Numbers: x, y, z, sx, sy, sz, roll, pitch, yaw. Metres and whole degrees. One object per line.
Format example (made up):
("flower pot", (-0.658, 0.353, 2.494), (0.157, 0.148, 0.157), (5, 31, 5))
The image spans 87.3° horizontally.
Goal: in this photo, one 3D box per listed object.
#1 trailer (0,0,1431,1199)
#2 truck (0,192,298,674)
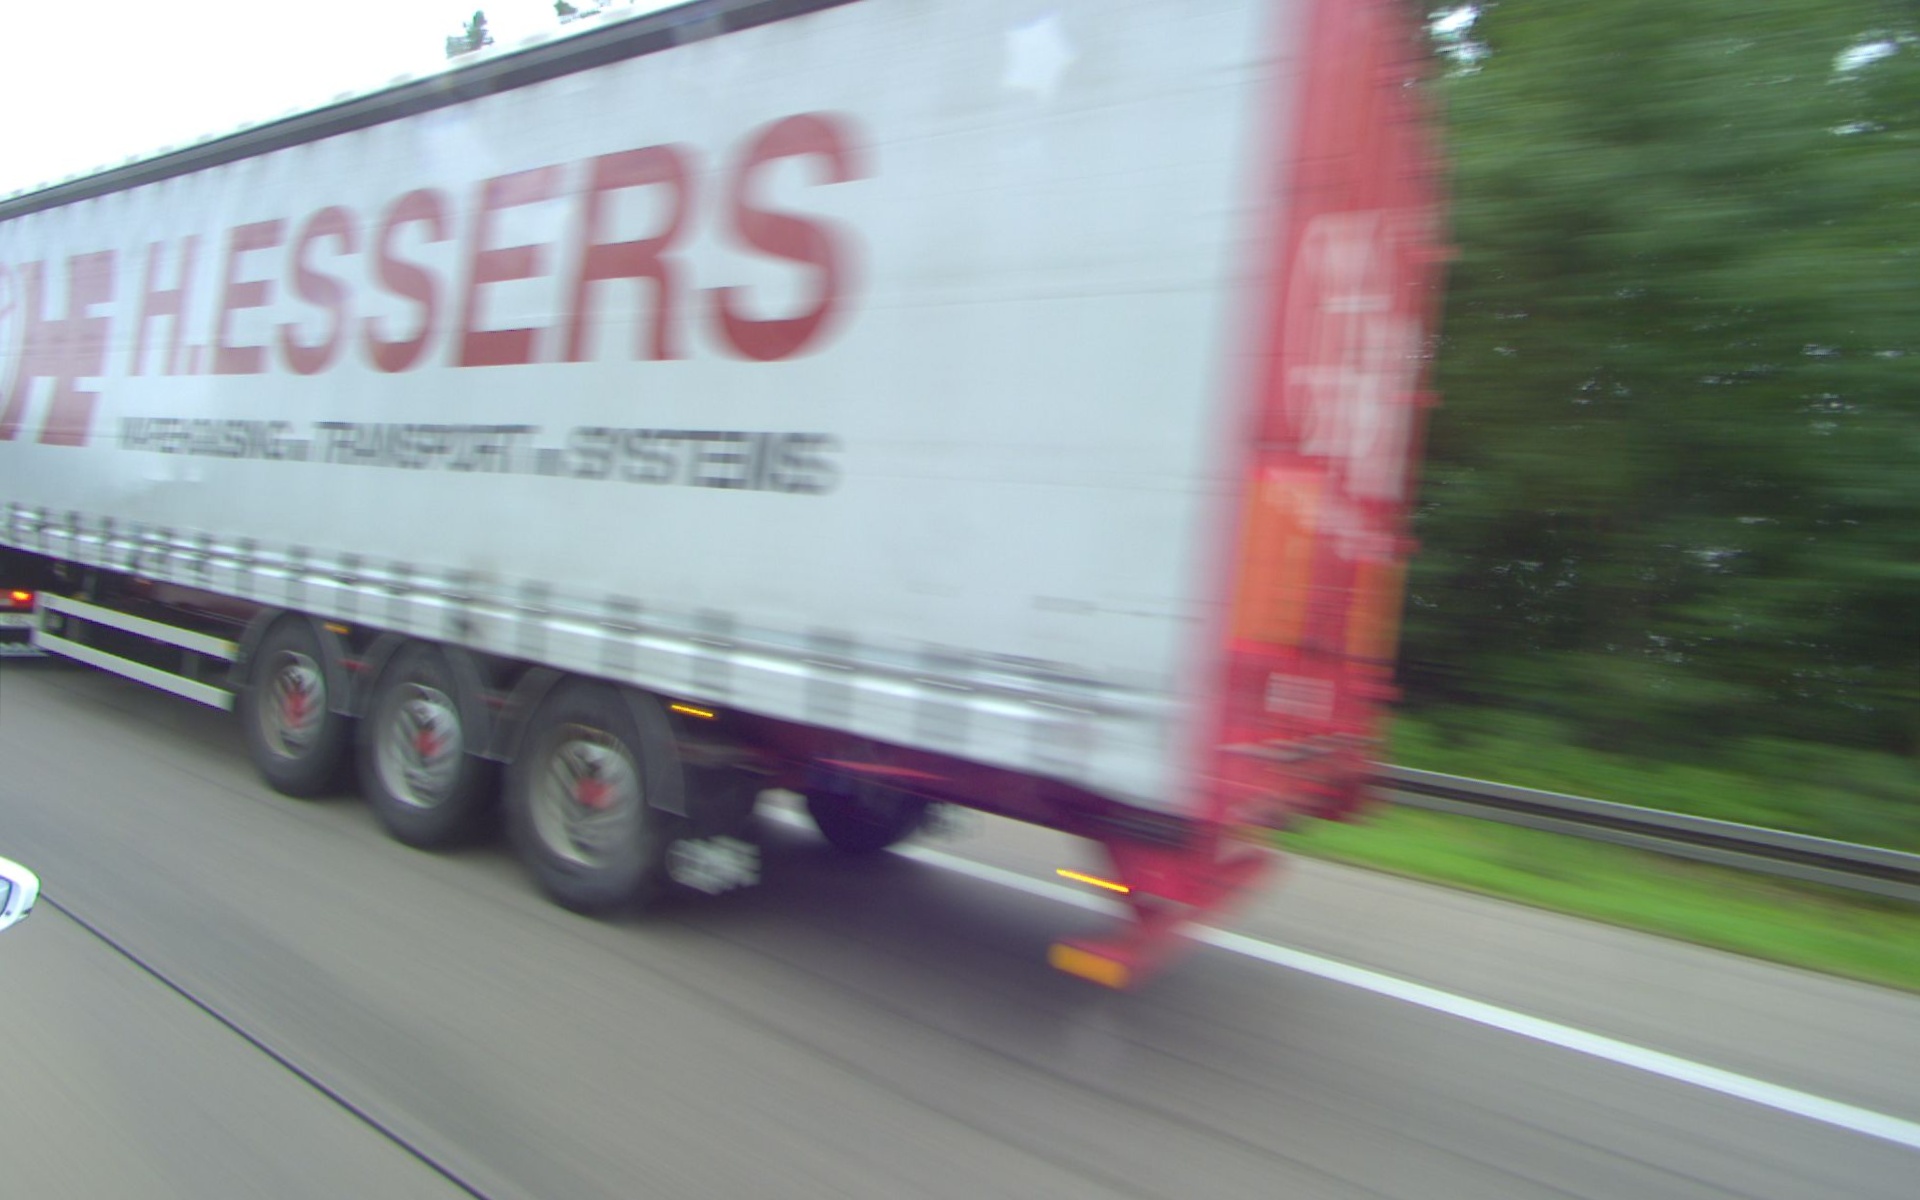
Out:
("trailer", (-3.834, -0.878, 6.953), (12.313, 4.002, 2.373), (7, 0, 32))
("truck", (-10.186, -1.614, 10.895), (6.057, 4.003, 2.378), (7, 0, 31))
